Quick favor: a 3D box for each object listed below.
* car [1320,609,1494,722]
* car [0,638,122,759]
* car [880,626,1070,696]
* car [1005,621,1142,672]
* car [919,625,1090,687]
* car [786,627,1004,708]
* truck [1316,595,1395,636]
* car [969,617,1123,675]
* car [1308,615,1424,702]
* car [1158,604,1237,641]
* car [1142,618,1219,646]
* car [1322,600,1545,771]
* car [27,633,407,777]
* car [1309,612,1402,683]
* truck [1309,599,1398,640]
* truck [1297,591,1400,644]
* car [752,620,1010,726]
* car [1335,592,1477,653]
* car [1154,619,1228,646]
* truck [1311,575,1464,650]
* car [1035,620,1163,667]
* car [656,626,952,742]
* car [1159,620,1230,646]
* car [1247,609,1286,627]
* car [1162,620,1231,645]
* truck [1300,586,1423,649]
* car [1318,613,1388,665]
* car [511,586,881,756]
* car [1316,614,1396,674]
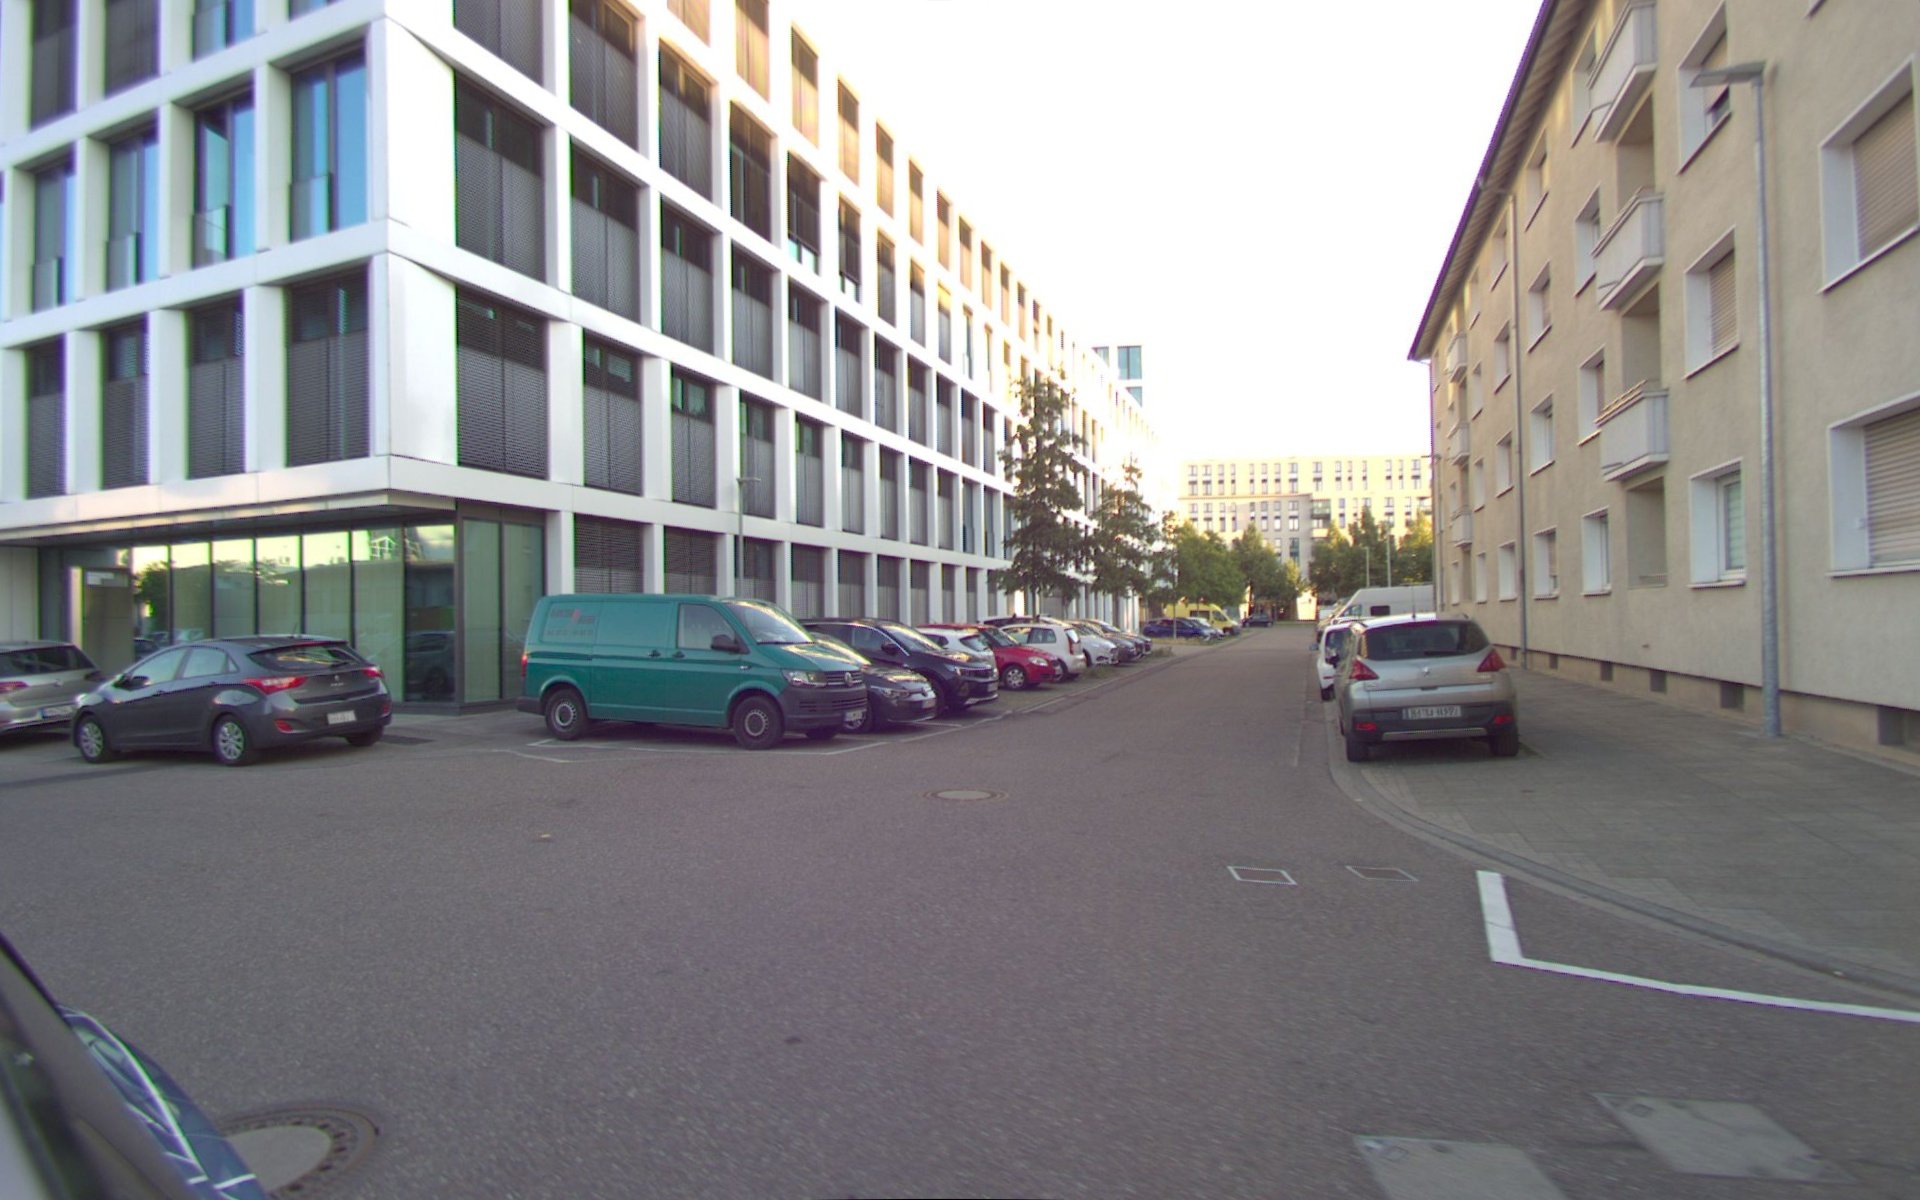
[{"bbox_3d":[7.270,1.034,16.879,1.863,1.512,4.001,-6,-3,14],"label":"car"},{"bbox_3d":[-14.501,1.398,14.611,4.150,1.490,1.706,-2,2,18],"label":"car"},{"bbox_3d":[0.357,1.384,23.908,4.169,1.467,1.723,0,-1,21],"label":"car"},{"bbox_3d":[3.748,1.499,33.406,4.193,1.521,1.723,0,-1,21],"label":"car"},{"bbox_3d":[1.168,1.416,26.499,4.169,1.467,1.723,0,-1,21],"label":"car"},{"bbox_3d":[-1.336,1.330,20.871,4.169,1.467,1.723,0,-1,21],"label":"car"},{"bbox_3d":[33.899,1.341,87.037,5.954,2.867,2.324,-6,-3,19],"label":"truck"},{"bbox_3d":[2.646,1.362,31.024,4.432,1.624,1.723,0,-1,21],"label":"car"},{"bbox_3d":[8.356,1.165,21.145,1.866,1.495,3.924,-6,-3,18],"label":"car"},{"bbox_3d":[17.150,1.621,73.111,5.470,2.554,1.725,0,-1,18],"label":"car"},{"bbox_3d":[12.843,1.840,58.843,4.193,1.521,1.723,0,-1,21],"label":"car"},{"bbox_3d":[5.545,0.946,12.389,1.866,1.630,3.995,-6,-3,18],"label":"car"},{"bbox_3d":[-9.268,1.240,12.630,4.299,1.490,1.773,-2,0,21],"label":"car"},{"bbox_3d":[9.944,1.168,25.704,1.866,1.495,3.924,-6,-3,18],"label":"car"},{"bbox_3d":[30.004,1.477,77.394,5.954,2.517,2.324,-6,-3,19],"label":"truck"},{"bbox_3d":[25.433,1.195,66.542,5.954,2.867,2.324,-6,-3,19],"label":"truck"},{"bbox_3d":[-1.404,1.219,18.127,4.300,1.672,1.723,0,-1,21],"label":"car"},{"bbox_3d":[18.119,0.946,41.434,4.963,1.928,2.324,-6,-3,19],"label":"car"},{"bbox_3d":[14.002,1.972,61.423,4.193,1.521,1.723,0,-1,21],"label":"car"},{"bbox_3d":[19.168,0.600,45.805,5.954,2.743,2.324,-6,-3,19],"label":"truck"},{"bbox_3d":[4.912,1.503,35.698,4.193,1.521,1.723,0,-1,21],"label":"car"},{"bbox_3d":[-2.441,1.225,15.869,4.300,1.561,1.773,0,-1,21],"label":"car"},{"bbox_3d":[14.818,2.056,63.983,4.193,1.521,1.723,0,-1,21],"label":"car"},{"bbox_3d":[52.004,3.061,171.927,5.931,2.867,2.333,-1,-1,8],"label":"car"},{"bbox_3d":[15.395,2.116,65.778,4.193,1.521,1.723,0,-1,21],"label":"car"},{"bbox_3d":[22.222,0.982,56.307,5.954,2.867,2.324,-6,-3,19],"label":"truck"},{"bbox_3d":[13.210,1.302,34.189,1.866,1.495,3.924,-6,-3,18],"label":"car"},{"bbox_3d":[-3.549,0.882,13.597,4.654,1.995,1.791,-1,-1,21],"label":"car"},{"bbox_3d":[11.637,1.266,29.952,1.866,1.495,3.924,-6,-3,18],"label":"car"}]
